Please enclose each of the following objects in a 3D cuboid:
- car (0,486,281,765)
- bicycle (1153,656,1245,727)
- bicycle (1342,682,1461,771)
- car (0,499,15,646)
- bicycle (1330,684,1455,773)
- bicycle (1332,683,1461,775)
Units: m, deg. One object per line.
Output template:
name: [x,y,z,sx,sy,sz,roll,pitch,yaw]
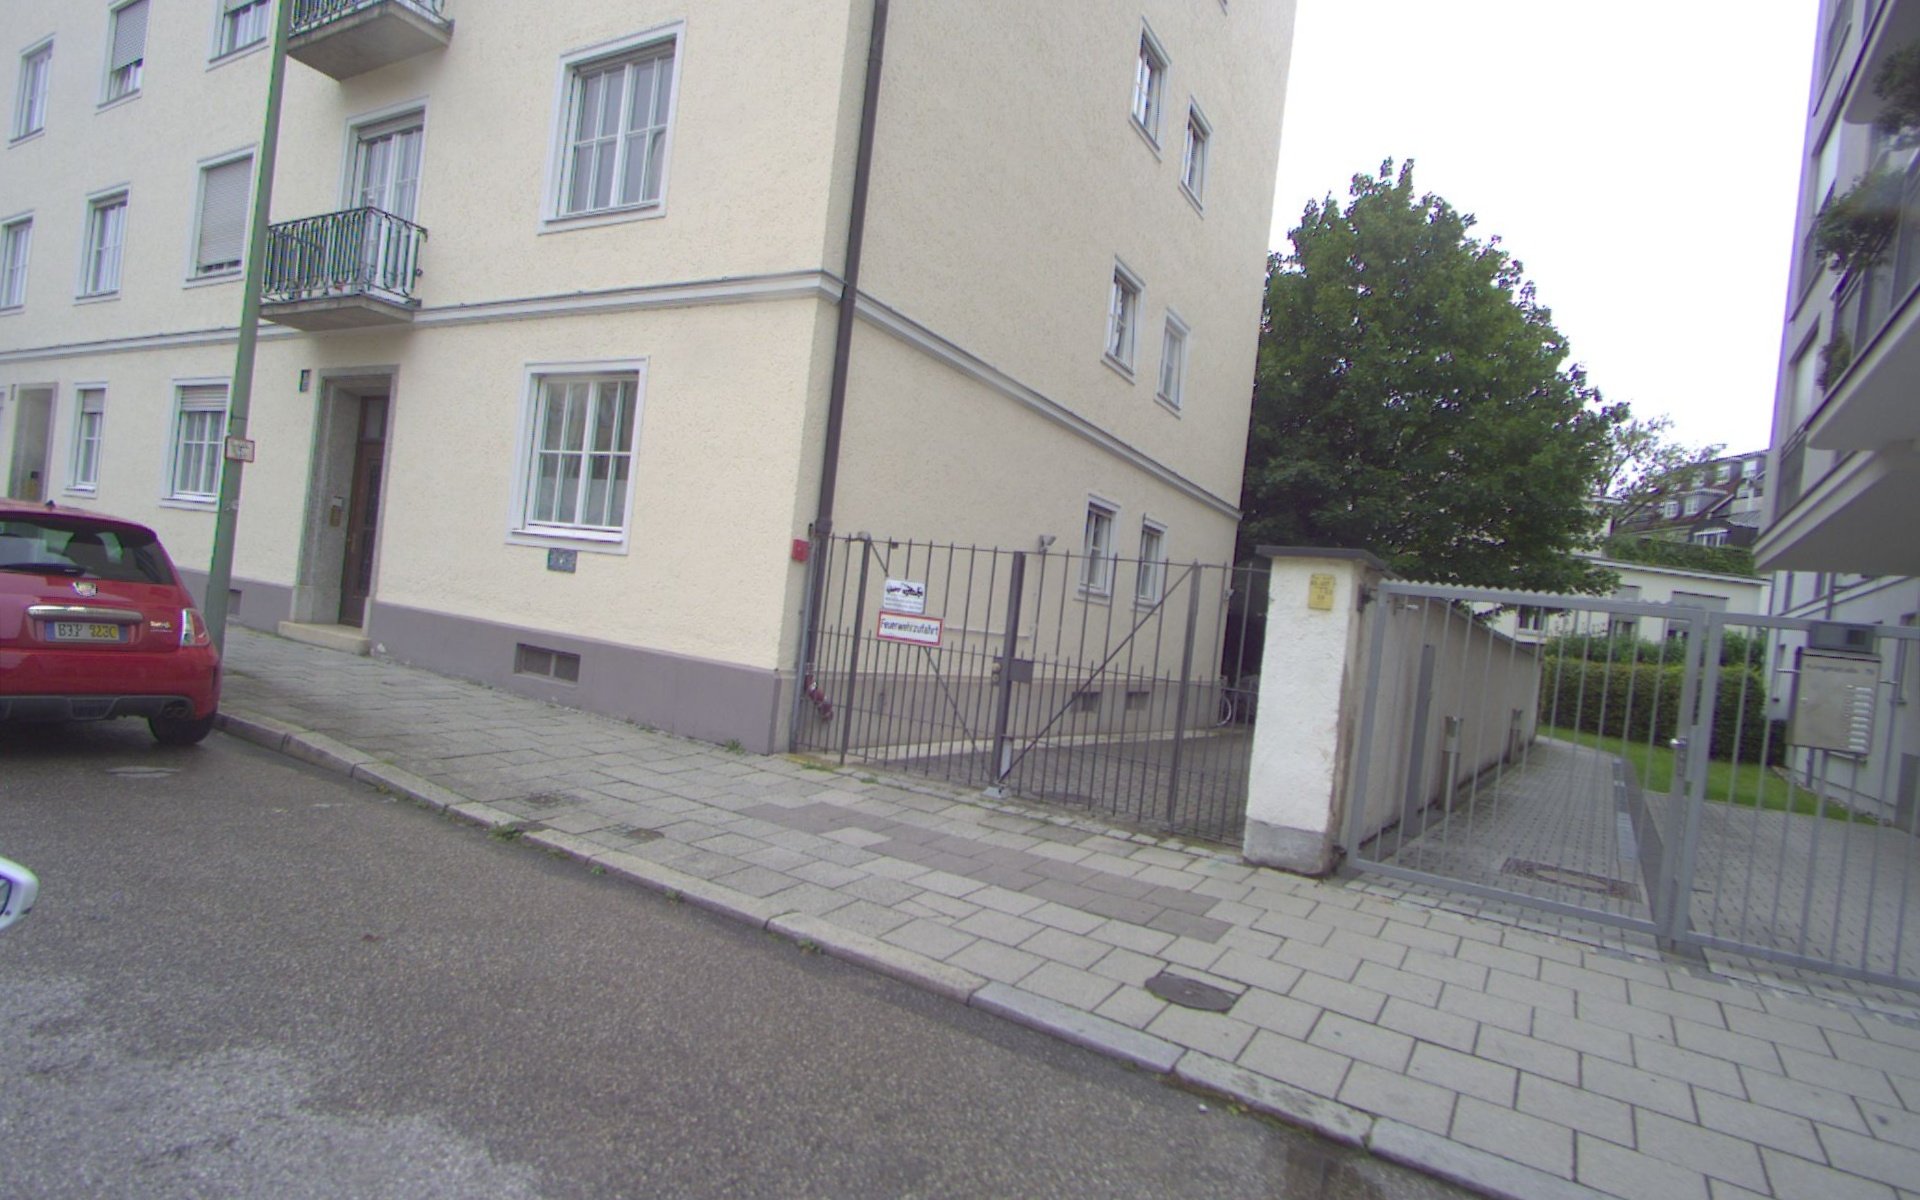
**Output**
car: [-6.569,0.007,6.849,3.759,1.516,1.682,6,0,31]
bicycle: [4.706,1.797,19.872,1.614,1.161,0.422,7,-1,33]
bicycle: [7.130,2.027,16.279,1.614,1.174,0.422,7,-1,33]
car: [-10.724,-0.439,9.298,4.347,1.427,1.682,6,-1,31]
bicycle: [6.615,1.943,15.435,1.614,1.096,0.372,6,-1,34]
bicycle: [6.496,1.901,15.010,1.614,1.096,0.372,6,-1,34]
